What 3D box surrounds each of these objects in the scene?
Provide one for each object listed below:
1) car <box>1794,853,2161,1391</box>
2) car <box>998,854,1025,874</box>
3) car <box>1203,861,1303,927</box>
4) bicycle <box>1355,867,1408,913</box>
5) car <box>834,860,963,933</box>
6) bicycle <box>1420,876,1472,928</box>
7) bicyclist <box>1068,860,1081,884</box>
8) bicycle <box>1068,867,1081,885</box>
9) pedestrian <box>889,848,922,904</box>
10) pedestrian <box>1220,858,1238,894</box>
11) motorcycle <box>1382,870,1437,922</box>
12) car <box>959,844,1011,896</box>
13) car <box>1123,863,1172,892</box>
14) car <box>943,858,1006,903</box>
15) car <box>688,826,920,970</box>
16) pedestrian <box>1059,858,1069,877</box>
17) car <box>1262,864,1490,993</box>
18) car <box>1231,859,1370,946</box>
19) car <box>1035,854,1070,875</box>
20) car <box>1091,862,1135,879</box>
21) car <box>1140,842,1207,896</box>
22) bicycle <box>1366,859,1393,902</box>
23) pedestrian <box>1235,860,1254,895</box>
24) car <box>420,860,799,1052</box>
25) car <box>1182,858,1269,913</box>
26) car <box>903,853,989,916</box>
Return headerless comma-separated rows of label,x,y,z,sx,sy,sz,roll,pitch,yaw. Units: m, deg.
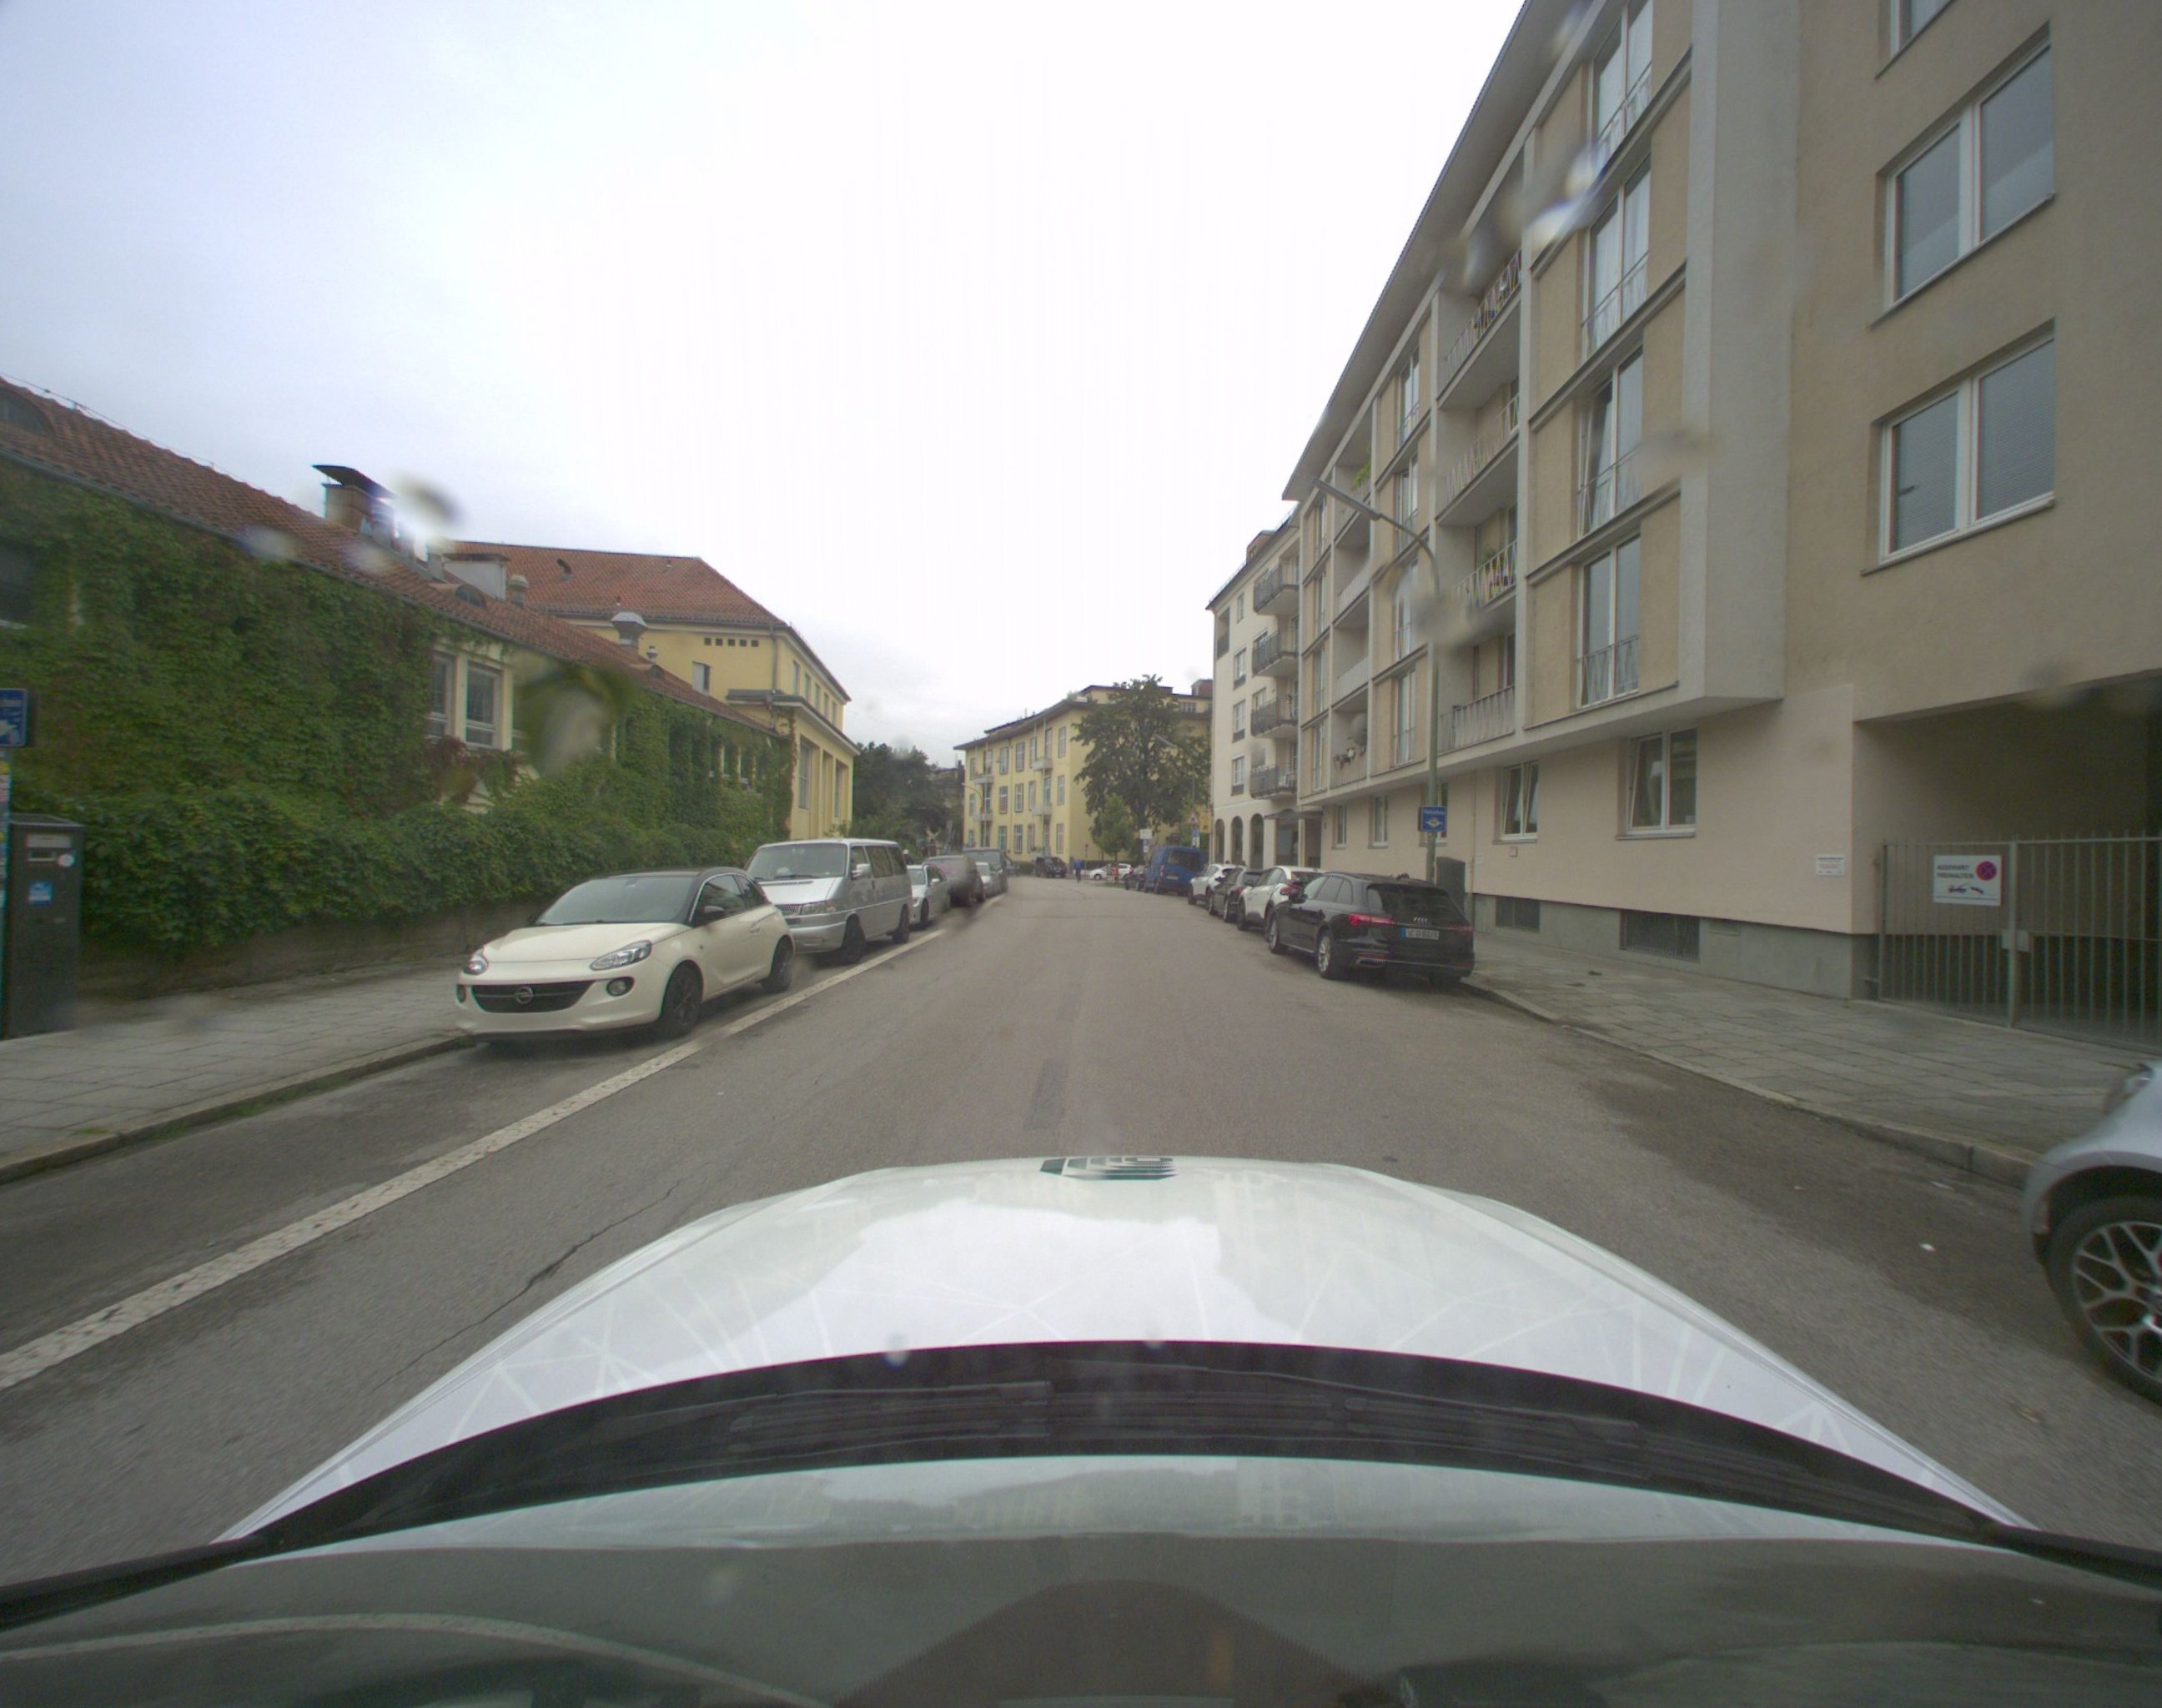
car,3.876,0.821,1.816,1.608,1.516,3.382,5,0,2
car,-6.593,0.916,76.583,1.995,1.719,4.597,1,0,-12
car,4.561,0.992,22.272,1.766,1.429,4.695,5,0,2
bicycle,8.378,0.994,22.734,1.339,1.202,0.392,-2,-1,-13
car,-4.096,0.900,19.057,1.797,1.377,4.492,-4,0,1
bicycle,8.583,1.110,19.218,0.512,1.157,1.601,0,-1,0
bicyclist,-0.475,1.314,61.071,0.911,1.764,1.215,1,0,0
bicycle,-0.468,1.655,61.067,0.917,1.252,2.322,1,0,1
pedestrian,-5.611,0.684,26.086,0.839,1.755,0.873,1,0,2
pedestrian,6.876,1.027,37.863,0.677,1.629,0.829,0,-1,-3
motorcycle,8.549,1.059,21.274,0.633,1.271,2.041,0,-1,0
car,-3.979,0.626,34.384,1.922,1.979,4.615,-2,0,-4
car,3.633,1.260,45.207,1.714,1.395,3.986,4,-1,-10
car,-3.757,0.909,29.252,1.702,1.365,4.000,-3,0,-1
car,-4.141,0.579,13.207,1.886,1.798,4.882,-3,0,1
pedestrian,-1.590,1.287,76.135,0.847,1.757,0.952,0,0,-6
car,4.048,0.922,12.046,1.820,1.381,4.493,3,0,2
car,4.438,0.907,17.112,1.697,1.468,4.119,5,0,-1
car,-2.720,0.945,75.906,1.880,1.887,4.587,1,0,-21
car,2.729,1.384,69.276,3.700,1.406,1.754,1,0,2
car,4.362,0.761,39.208,2.106,2.214,5.019,6,-3,-5
bicycle,8.839,0.774,24.128,0.391,1.202,1.344,-3,-1,6
pedestrian,7.595,1.092,37.908,0.709,1.605,0.699,0,-1,-3
car,-4.301,0.811,8.152,1.661,1.409,3.559,-2,0,0
car,4.815,1.003,27.730,1.772,1.522,4.297,5,0,-4
car,-3.858,0.822,24.013,1.696,1.606,4.491,-2,0,0
